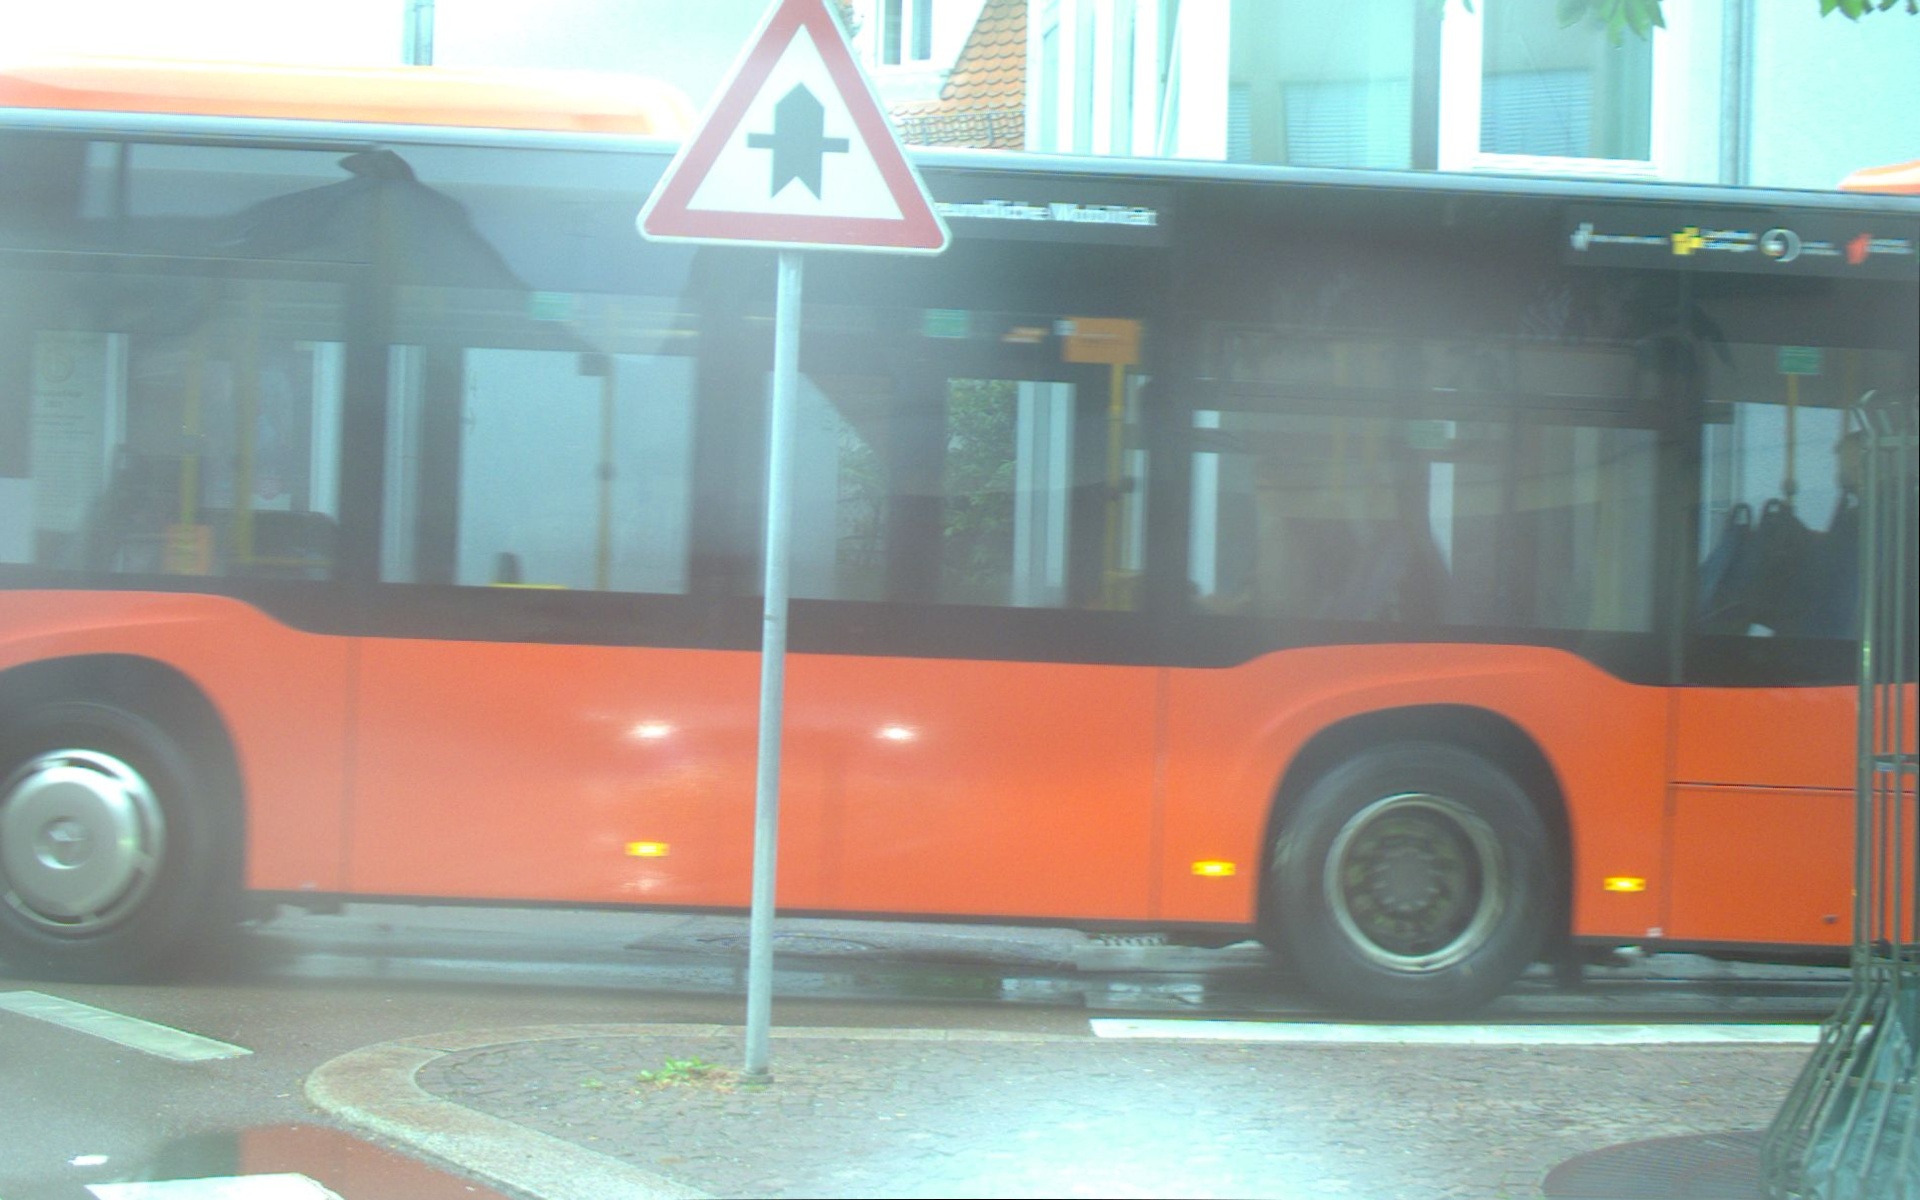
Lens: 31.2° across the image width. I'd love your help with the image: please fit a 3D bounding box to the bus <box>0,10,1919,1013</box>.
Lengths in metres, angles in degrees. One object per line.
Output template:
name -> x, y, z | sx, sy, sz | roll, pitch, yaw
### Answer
bus -> -0.316, -0.257, 12.494 | 10.571, 3.078, 2.822 | 1, -1, -4
